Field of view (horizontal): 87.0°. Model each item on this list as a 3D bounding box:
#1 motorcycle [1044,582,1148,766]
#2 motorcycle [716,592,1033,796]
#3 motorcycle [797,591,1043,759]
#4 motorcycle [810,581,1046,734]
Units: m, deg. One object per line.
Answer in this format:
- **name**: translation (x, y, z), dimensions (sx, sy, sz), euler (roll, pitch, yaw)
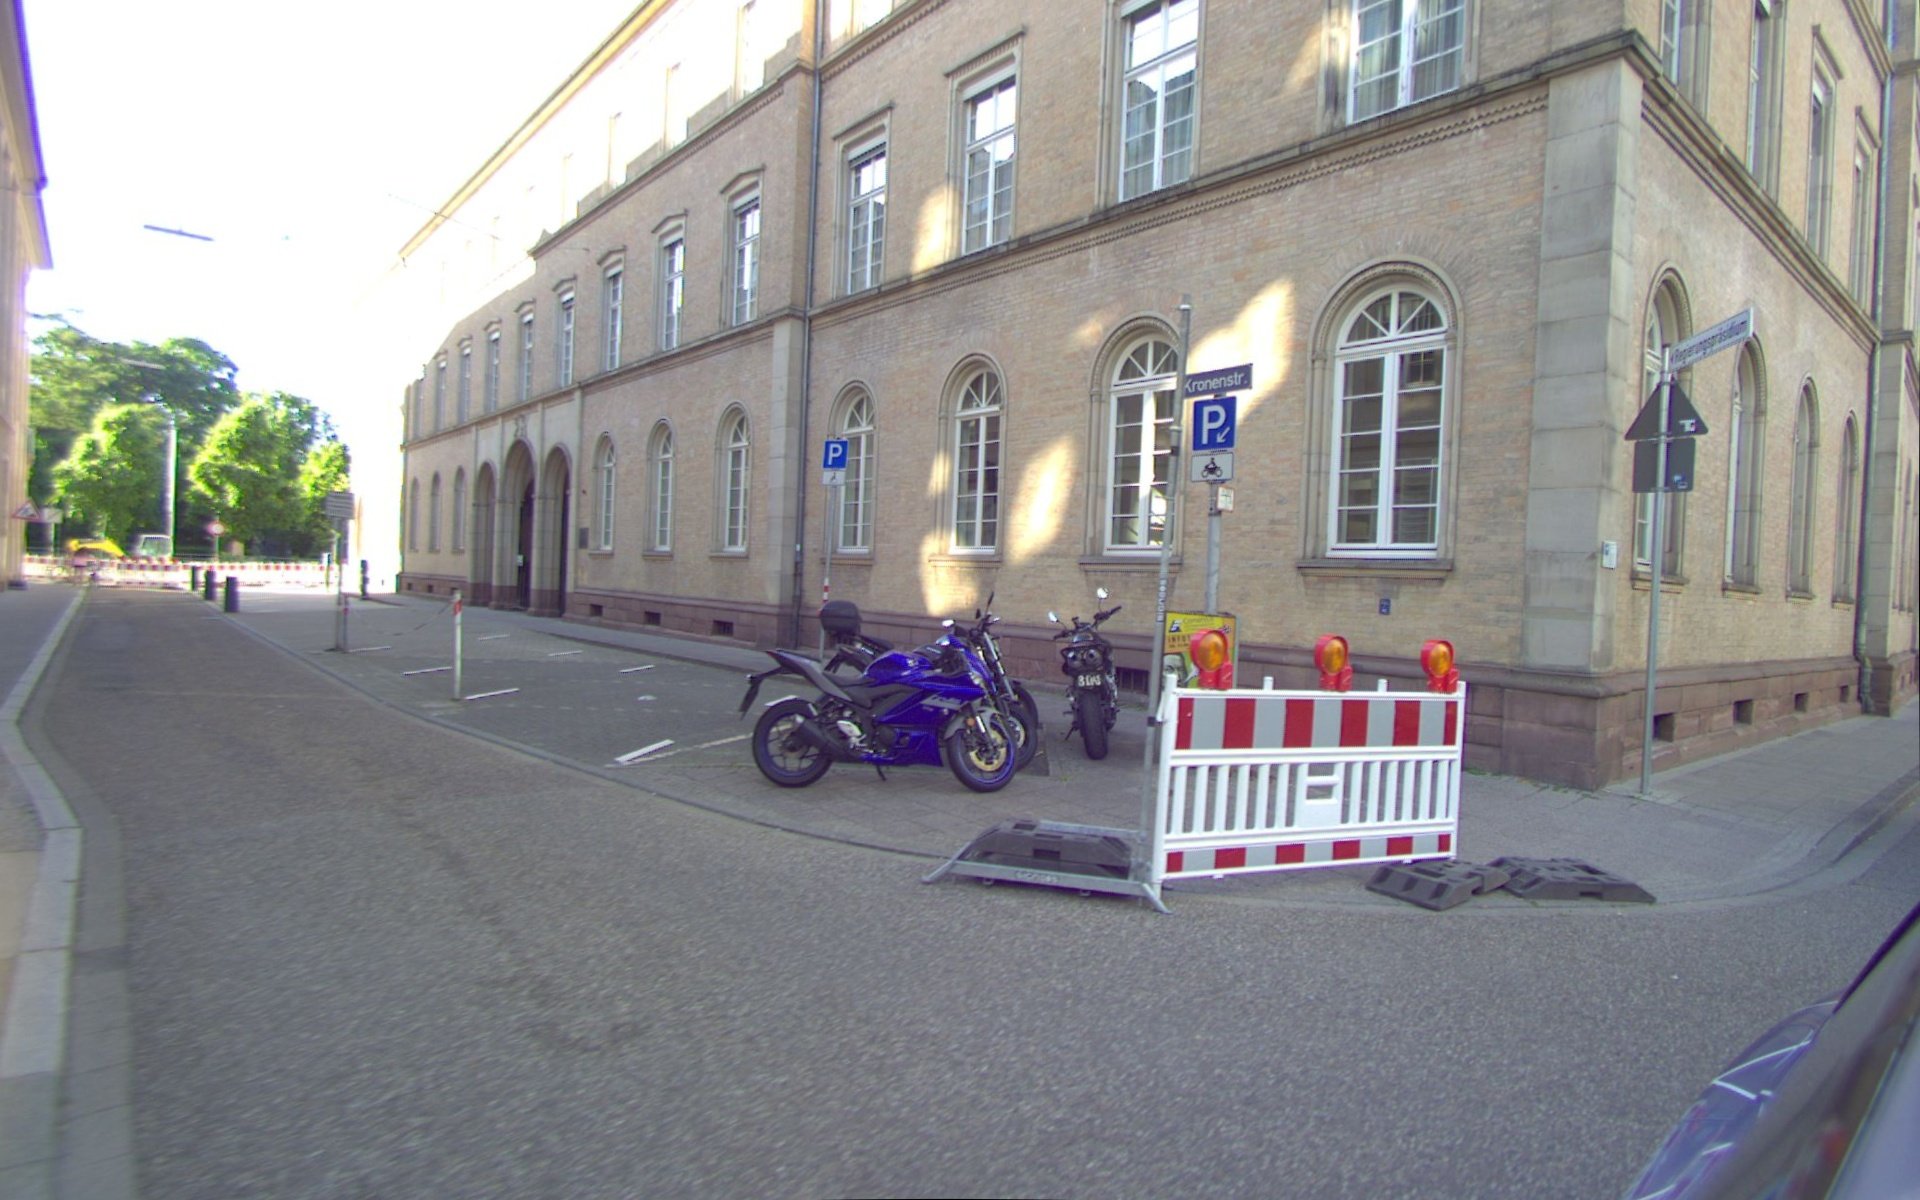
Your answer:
- **motorcycle**: translation (1.126, 0.548, 8.798), dimensions (0.694, 1.349, 2.078), euler (2, 2, 3)
- **motorcycle**: translation (-0.563, 0.624, 7.228), dimensions (2.111, 1.239, 0.875), euler (2, 3, 4)
- **motorcycle**: translation (-0.301, 0.588, 8.439), dimensions (1.919, 1.240, 0.828), euler (2, 1, 4)
- **motorcycle**: translation (-0.276, 0.512, 9.594), dimensions (2.106, 1.304, 0.828), euler (2, 1, 4)
